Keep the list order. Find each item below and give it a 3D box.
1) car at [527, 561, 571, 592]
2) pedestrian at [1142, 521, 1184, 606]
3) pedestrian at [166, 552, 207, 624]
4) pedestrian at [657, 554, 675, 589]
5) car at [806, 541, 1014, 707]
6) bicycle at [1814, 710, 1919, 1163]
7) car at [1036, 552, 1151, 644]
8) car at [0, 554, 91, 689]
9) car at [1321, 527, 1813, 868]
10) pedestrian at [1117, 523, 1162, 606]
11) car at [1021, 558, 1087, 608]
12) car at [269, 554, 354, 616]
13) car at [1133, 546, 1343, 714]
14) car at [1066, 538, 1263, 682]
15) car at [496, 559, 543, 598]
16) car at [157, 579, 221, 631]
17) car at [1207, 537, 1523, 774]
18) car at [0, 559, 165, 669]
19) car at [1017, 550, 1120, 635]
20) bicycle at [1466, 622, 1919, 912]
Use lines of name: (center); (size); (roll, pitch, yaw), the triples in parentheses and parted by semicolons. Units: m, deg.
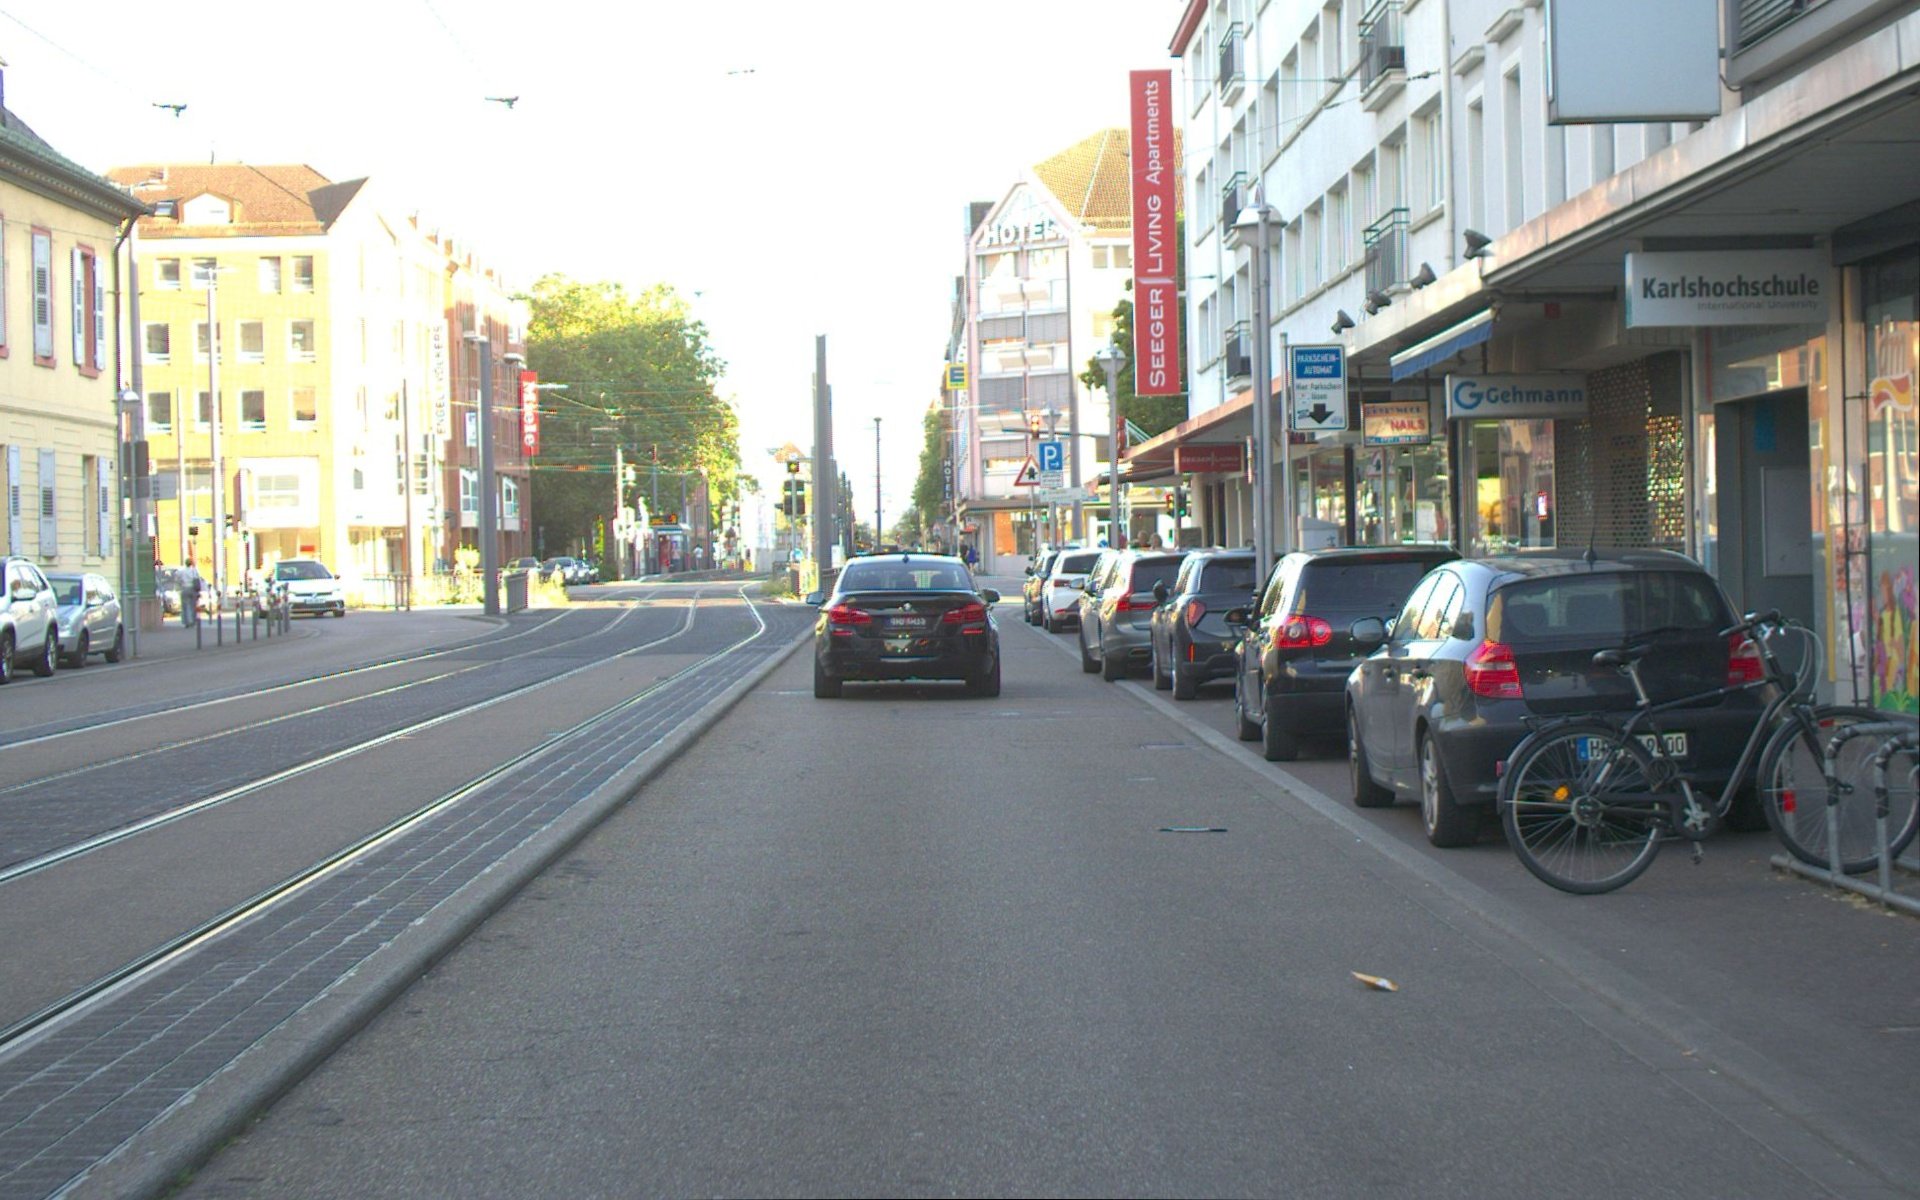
car: (-22.006, -1.249, 184.229); (1.993, 1.579, 4.587); (-1, 1, -3)
pedestrian: (4.214, -0.763, 71.455); (0.728, 1.735, 0.863); (-3, 1, 0)
pedestrian: (-17.265, -0.269, 76.770); (0.731, 1.579, 0.955); (-1, 1, -5)
pedestrian: (-17.098, -1.661, 200.101); (0.988, 2.007, 0.726); (1, 0, -2)
car: (-0.525, 0.204, 35.628); (1.993, 1.579, 4.000); (-1, 1, -1)
bicycle: (3.259, 0.795, 8.856); (1.885, 1.073, 0.676); (-3, 1, -3)
car: (2.333, -0.064, 60.799); (1.785, 1.507, 4.052); (-3, 1, 0)
car: (-13.668, 0.258, 47.824); (1.812, 1.779, 4.497); (2, 1, 2)
car: (3.041, 0.424, 18.083); (1.744, 1.507, 4.258); (-3, 1, 0)
pedestrian: (3.790, -0.759, 72.623); (0.827, 1.712, 0.843); (-3, 1, 0)
car: (3.068, -0.582, 112.761); (1.993, 1.546, 4.000); (-1, 1, -1)
car: (-16.624, -0.402, 88.056); (1.805, 1.507, 4.036); (-1, 1, -15)
car: (2.716, 0.253, 34.392); (1.685, 1.507, 4.035); (-3, 1, 0)
car: (2.321, 0.082, 40.124); (1.790, 1.507, 4.712); (-3, 1, -2)
car: (-22.201, -1.109, 173.494); (1.993, 1.895, 4.812); (-1, 1, -3)
car: (-23.779, 0.130, 106.086); (1.735, 1.507, 4.036); (-1, 1, -10)
car: (2.851, 0.341, 25.033); (1.720, 1.507, 4.167); (-3, 1, 0)
car: (-13.914, 0.194, 53.908); (1.812, 1.612, 4.215); (-1, 1, 1)
car: (2.044, -0.178, 66.091); (1.735, 1.507, 4.686); (-3, 1, 0)
bicycle: (3.165, 0.692, 14.604); (1.885, 1.134, 0.676); (-2, 1, -3)
